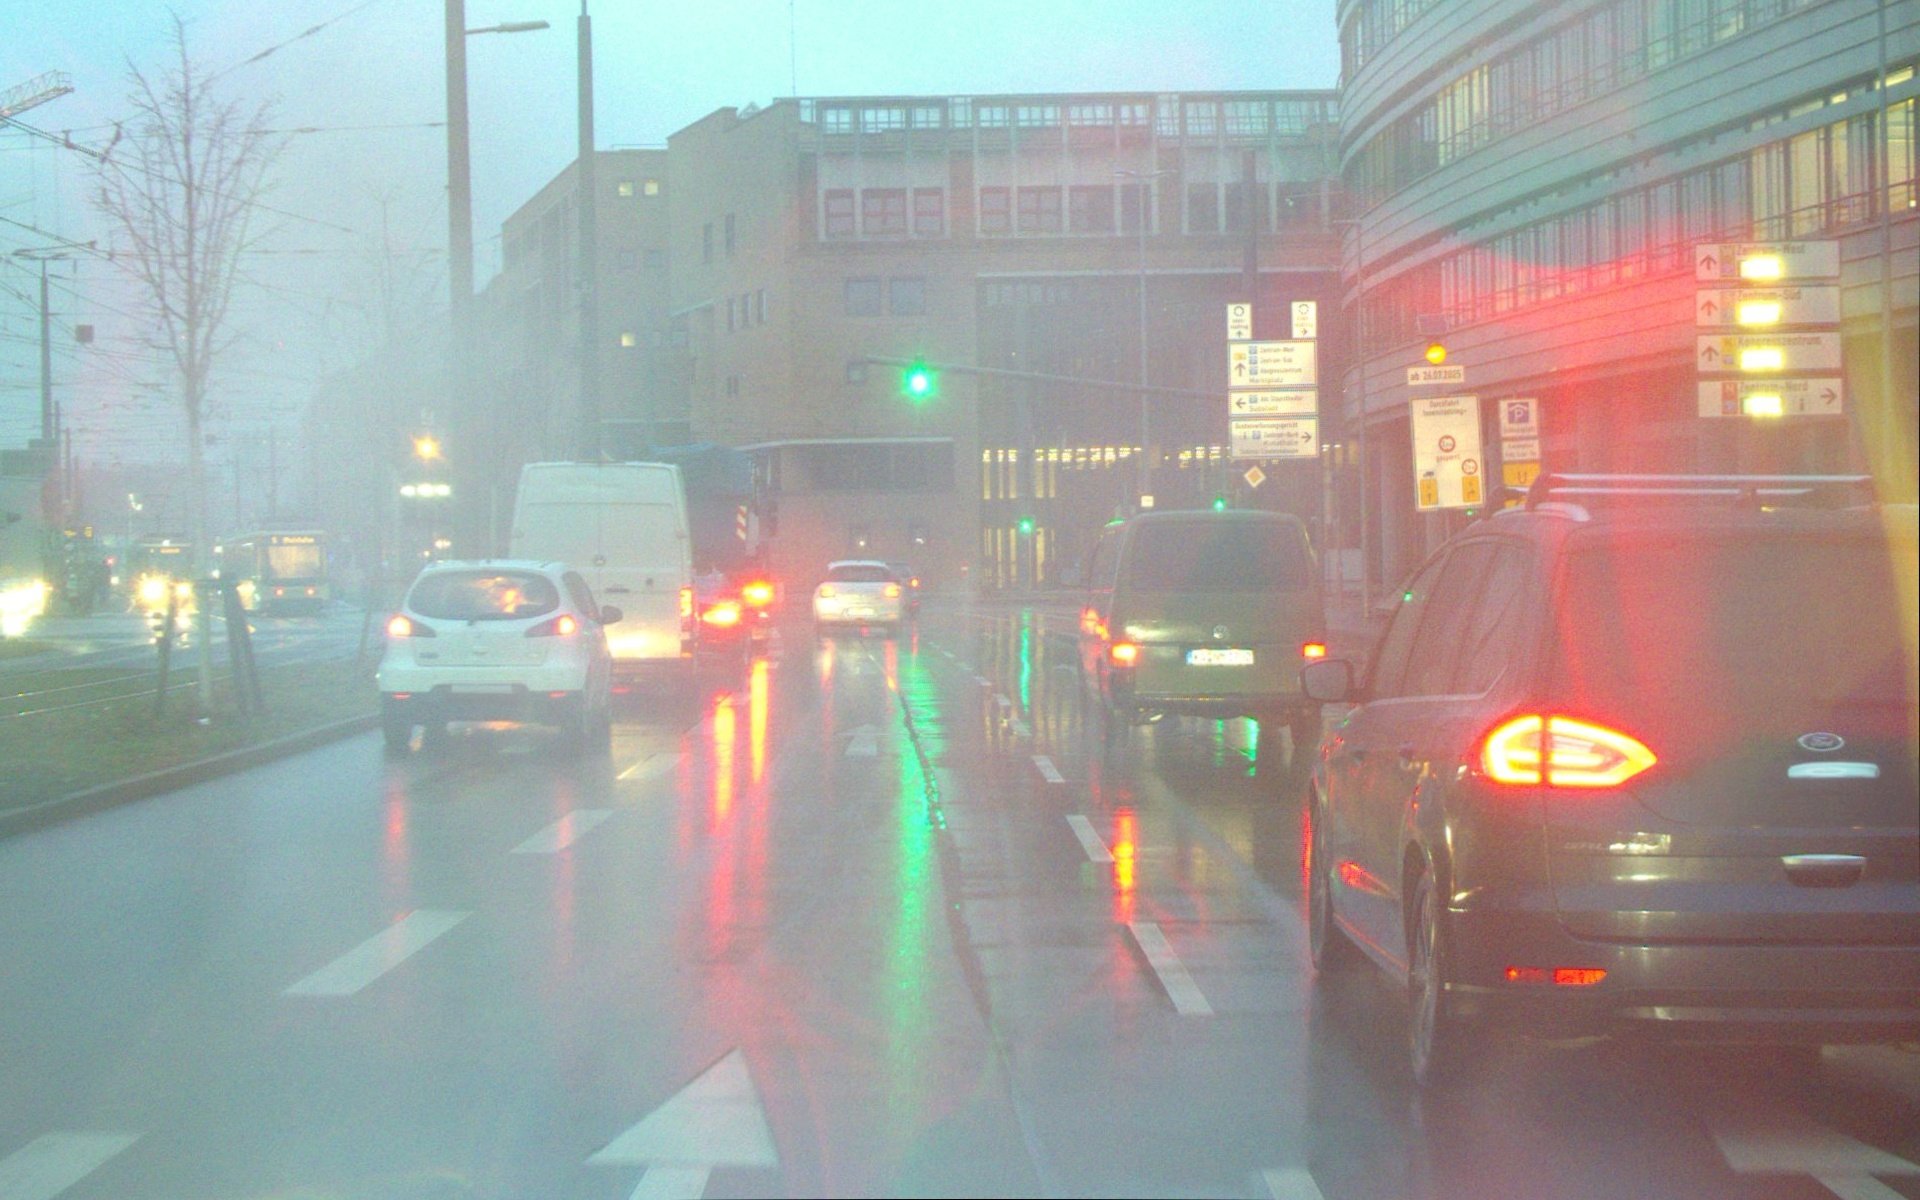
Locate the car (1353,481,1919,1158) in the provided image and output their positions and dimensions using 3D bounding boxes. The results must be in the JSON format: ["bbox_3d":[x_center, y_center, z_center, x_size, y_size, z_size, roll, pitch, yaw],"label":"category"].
[{"bbox_3d":[2.294,0.554,11.042,1.674,1.773,4.000,1,1,1],"label":"car"}]

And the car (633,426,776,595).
[{"bbox_3d":[-4.521,-1.536,60.986,2.354,2.817,6.360,-1,0,-4],"label":"car"}]

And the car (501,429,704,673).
[{"bbox_3d":[-3.872,-0.525,37.440,1.993,2.419,5.975,-1,1,-6],"label":"car"}]

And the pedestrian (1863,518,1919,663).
[{"bbox_3d":[11.170,-0.119,40.409,0.793,1.680,1.069,-1,1,-1],"label":"pedestrian"}]

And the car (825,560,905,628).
[{"bbox_3d":[-1.891,-0.133,68.976,1.511,1.301,3.041,-1,1,0],"label":"car"}]

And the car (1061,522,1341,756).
[{"bbox_3d":[1.943,0.274,29.007,1.843,1.800,4.487,-1,1,-3],"label":"car"}]

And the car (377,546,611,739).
[{"bbox_3d":[-3.905,0.310,29.272,1.638,1.491,3.686,-1,1,-3],"label":"car"}]

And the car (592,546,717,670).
[{"bbox_3d":[-3.917,0.100,44.191,1.517,1.515,3.471,-1,0,-5],"label":"car"}]

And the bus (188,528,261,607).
[{"bbox_3d":[-32.459,-1.433,151.573,2.822,3.361,8.002,-1,1,-14],"label":"bus"}]

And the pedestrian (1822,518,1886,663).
[{"bbox_3d":[10.460,-0.112,40.235,0.531,1.677,0.745,-1,0,-1],"label":"pedestrian"}]
